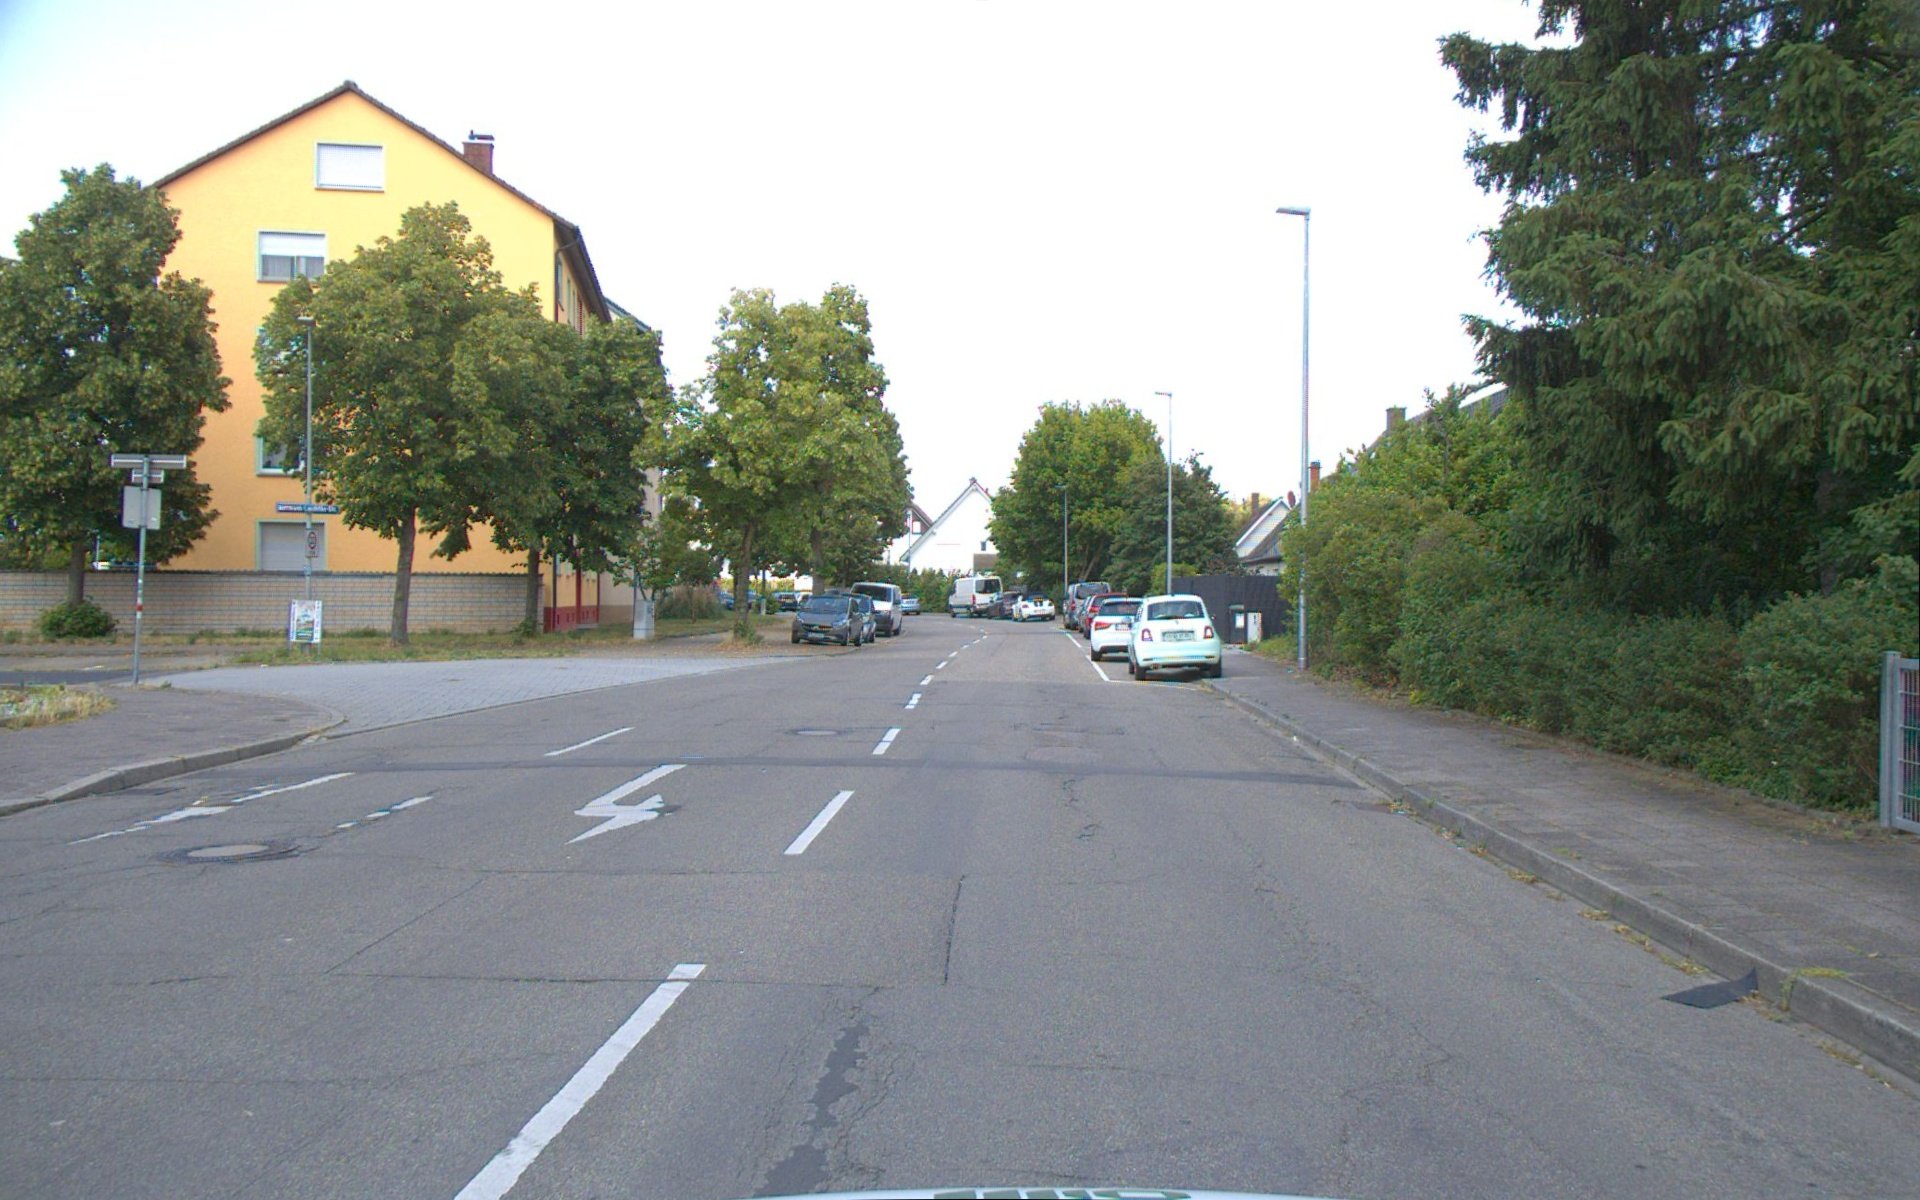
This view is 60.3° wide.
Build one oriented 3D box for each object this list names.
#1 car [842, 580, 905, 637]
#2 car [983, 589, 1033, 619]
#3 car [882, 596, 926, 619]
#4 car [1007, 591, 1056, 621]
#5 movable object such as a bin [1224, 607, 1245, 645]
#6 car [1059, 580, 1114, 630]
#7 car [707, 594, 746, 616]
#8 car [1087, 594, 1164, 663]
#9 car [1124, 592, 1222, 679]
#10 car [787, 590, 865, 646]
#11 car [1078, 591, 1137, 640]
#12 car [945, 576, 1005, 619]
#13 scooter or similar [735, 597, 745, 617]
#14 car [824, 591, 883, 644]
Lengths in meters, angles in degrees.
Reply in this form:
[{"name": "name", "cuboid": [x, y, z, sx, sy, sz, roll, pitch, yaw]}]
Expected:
[{"name": "car", "cuboid": [-3.298, 0.294, 63.892, 1.840, 2.044, 5.324, 3, 1, 2]}, {"name": "car", "cuboid": [2.671, 0.224, 92.780, 1.689, 1.613, 4.108, 0, 0, -15]}, {"name": "car", "cuboid": [-3.850, 0.506, 113.298, 1.712, 1.483, 4.339, 0, 0, -20]}, {"name": "car", "cuboid": [3.668, 0.293, 85.989, 1.708, 1.539, 4.449, 0, 0, -9]}, {"name": "movable object such as a bin", "cuboid": [7.579, 0.713, 45.700, 0.505, 1.057, 0.630, 0, 0, 3]}, {"name": "car", "cuboid": [5.270, 0.184, 69.460, 1.805, 1.978, 4.875, -2, 0, -1]}, {"name": "car", "cuboid": [-17.217, 0.346, 121.740, 1.762, 1.483, 4.406, 5, -2, -21]}, {"name": "car", "cuboid": [3.885, 0.631, 38.806, 1.685, 1.512, 3.751, 0, 0, 6]}, {"name": "car", "cuboid": [4.000, 0.630, 31.527, 1.548, 1.547, 3.757, 0, 0, 3]}, {"name": "car", "cuboid": [-3.928, 0.559, 49.147, 1.648, 1.512, 3.985, 3, -1, 4]}, {"name": "car", "cuboid": [4.989, 0.507, 56.508, 1.811, 1.607, 4.734, 0, 0, 2]}, {"name": "car", "cuboid": [0.855, -0.162, 99.144, 2.082, 2.483, 5.871, 0, 0, -15]}, {"name": "scooter or similar", "cuboid": [-13.643, 0.440, 102.591, 0.413, 1.186, 1.134, 2, 0, -19]}, {"name": "car", "cuboid": [-3.536, 0.559, 55.465, 1.486, 1.576, 3.756, 5, 1, 2]}]
